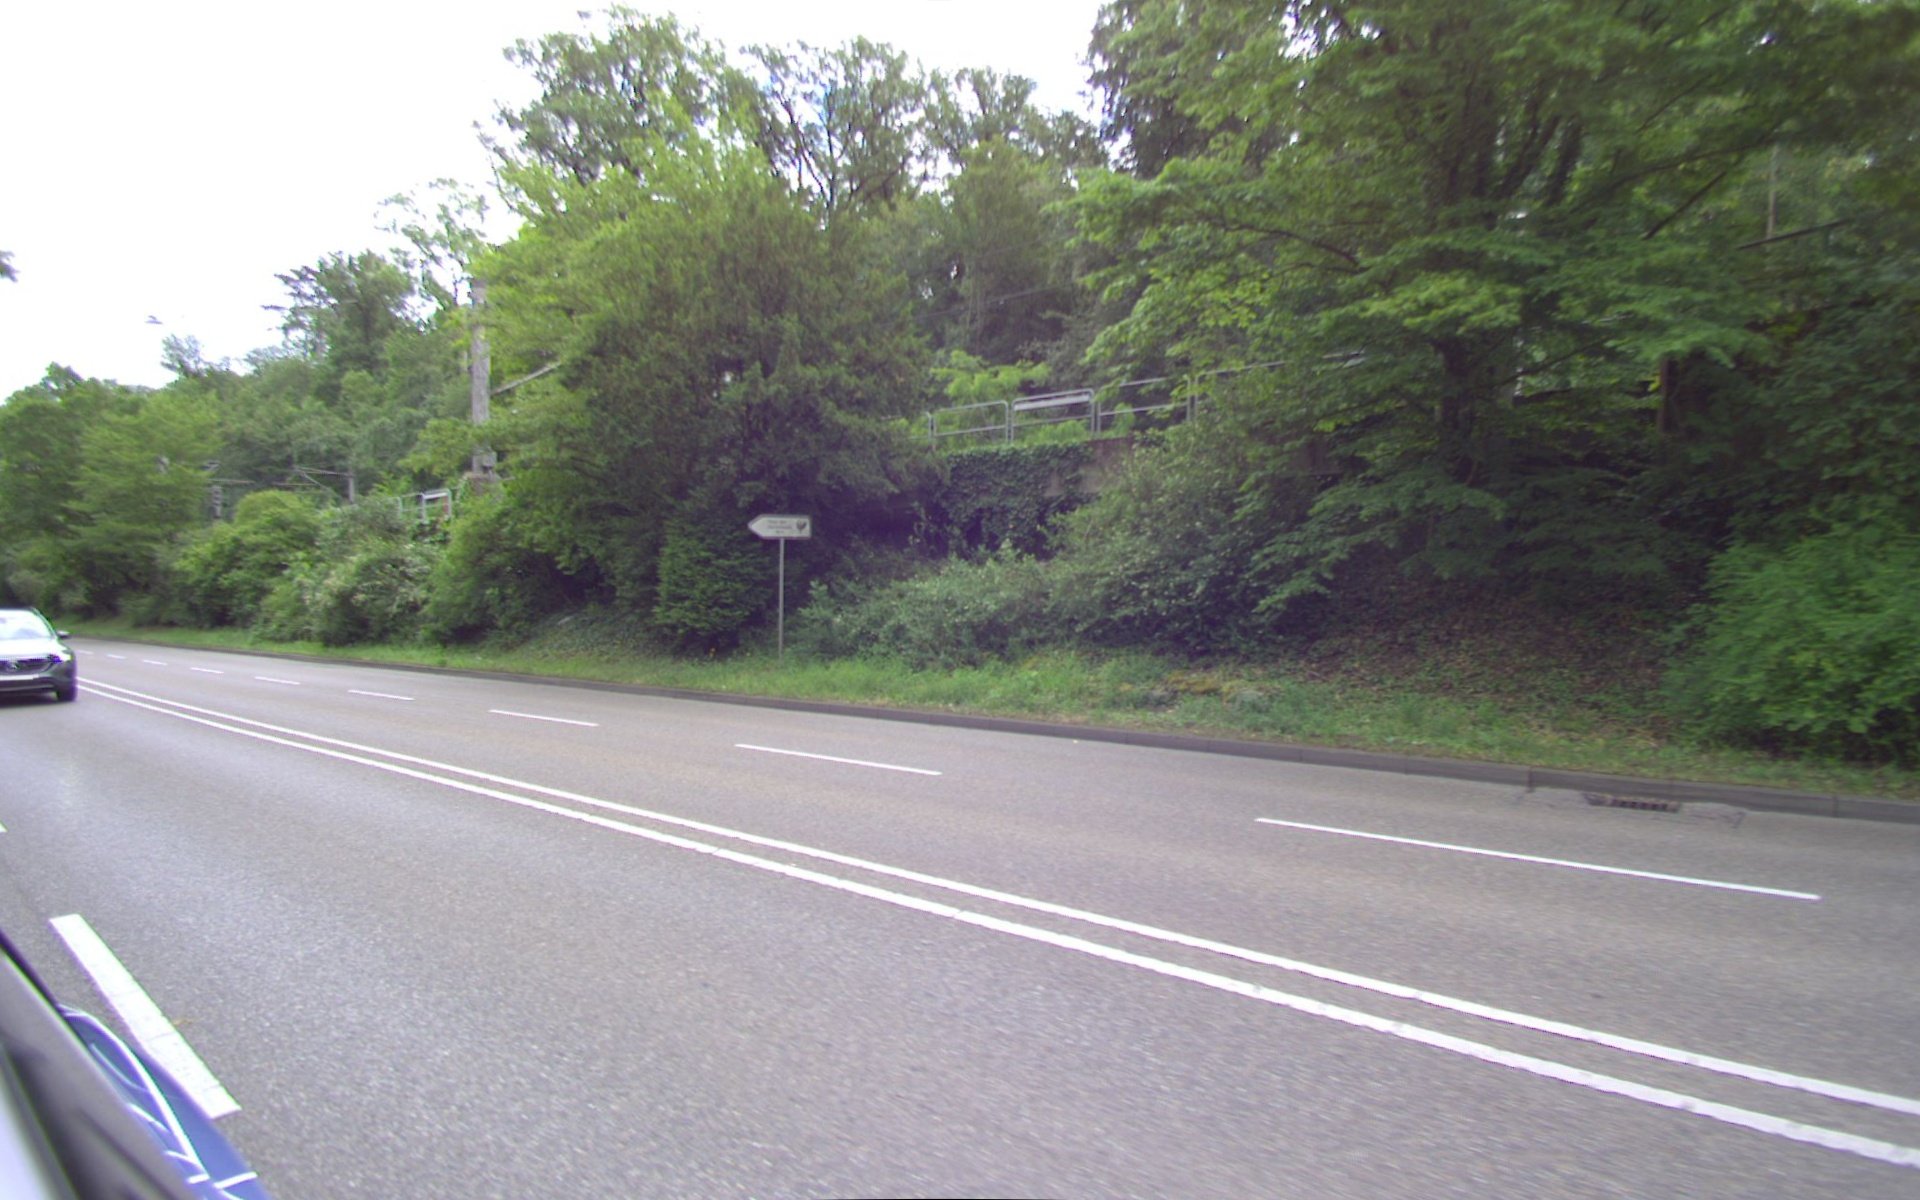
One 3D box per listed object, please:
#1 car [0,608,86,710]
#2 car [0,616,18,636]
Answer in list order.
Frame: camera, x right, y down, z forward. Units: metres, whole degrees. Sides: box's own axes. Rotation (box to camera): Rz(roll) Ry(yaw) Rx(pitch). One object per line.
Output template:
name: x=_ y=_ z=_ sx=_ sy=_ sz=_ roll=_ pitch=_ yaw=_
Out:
car: x=-17.364 y=0.987 z=18.135 sx=4.187 sy=1.675 sz=1.848 roll=-1 pitch=0 yaw=39
car: x=-65.939 y=1.770 z=69.416 sx=3.999 sy=1.322 sz=1.625 roll=0 pitch=0 yaw=42
